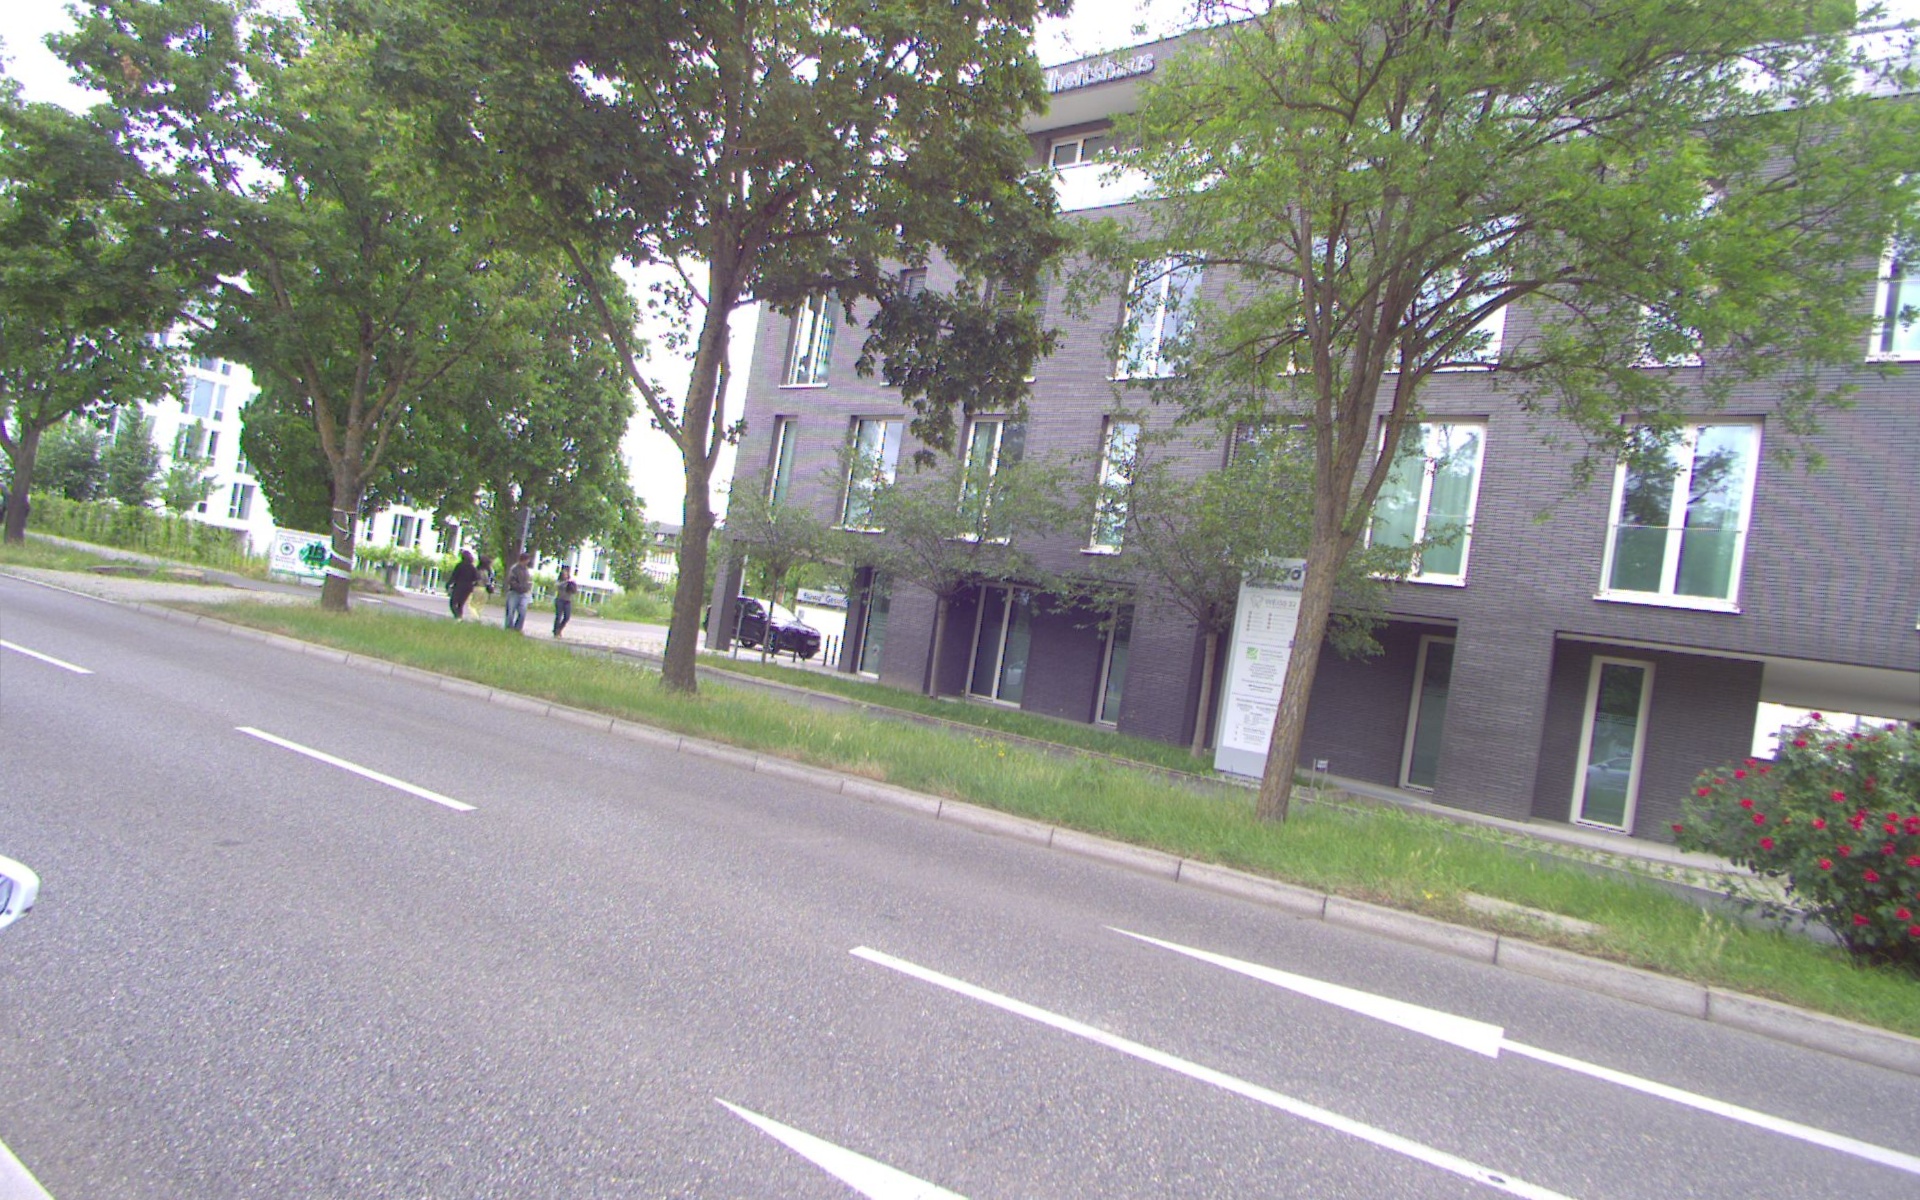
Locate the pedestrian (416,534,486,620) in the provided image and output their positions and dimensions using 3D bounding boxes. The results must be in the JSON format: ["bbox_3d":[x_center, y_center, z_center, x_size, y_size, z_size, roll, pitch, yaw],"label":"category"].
[{"bbox_3d":[-11.082,-0.500,21.888,1.043,1.679,0.796,7,-1,38],"label":"pedestrian"}]

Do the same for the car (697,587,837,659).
[{"bbox_3d":[-6.102,0.719,31.687,4.080,1.665,1.759,7,-2,32],"label":"car"}]

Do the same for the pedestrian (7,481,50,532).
[{"bbox_3d":[-33.810,-3.391,36.502,0.868,1.705,0.768,6,-1,31],"label":"pedestrian"}]

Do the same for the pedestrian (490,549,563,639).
[{"bbox_3d":[-9.963,-0.141,23.130,0.964,1.889,0.960,7,-2,37],"label":"pedestrian"}]

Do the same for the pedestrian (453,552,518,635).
[{"bbox_3d":[-10.613,-0.145,22.507,0.937,1.679,0.779,7,-1,38],"label":"pedestrian"}]

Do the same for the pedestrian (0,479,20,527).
[{"bbox_3d":[-34.222,-3.471,35.846,0.868,1.614,0.701,6,-1,31],"label":"pedestrian"}]

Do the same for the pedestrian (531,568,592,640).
[{"bbox_3d":[-9.507,0.095,24.007,0.862,1.575,0.832,7,-2,38],"label":"pedestrian"}]
